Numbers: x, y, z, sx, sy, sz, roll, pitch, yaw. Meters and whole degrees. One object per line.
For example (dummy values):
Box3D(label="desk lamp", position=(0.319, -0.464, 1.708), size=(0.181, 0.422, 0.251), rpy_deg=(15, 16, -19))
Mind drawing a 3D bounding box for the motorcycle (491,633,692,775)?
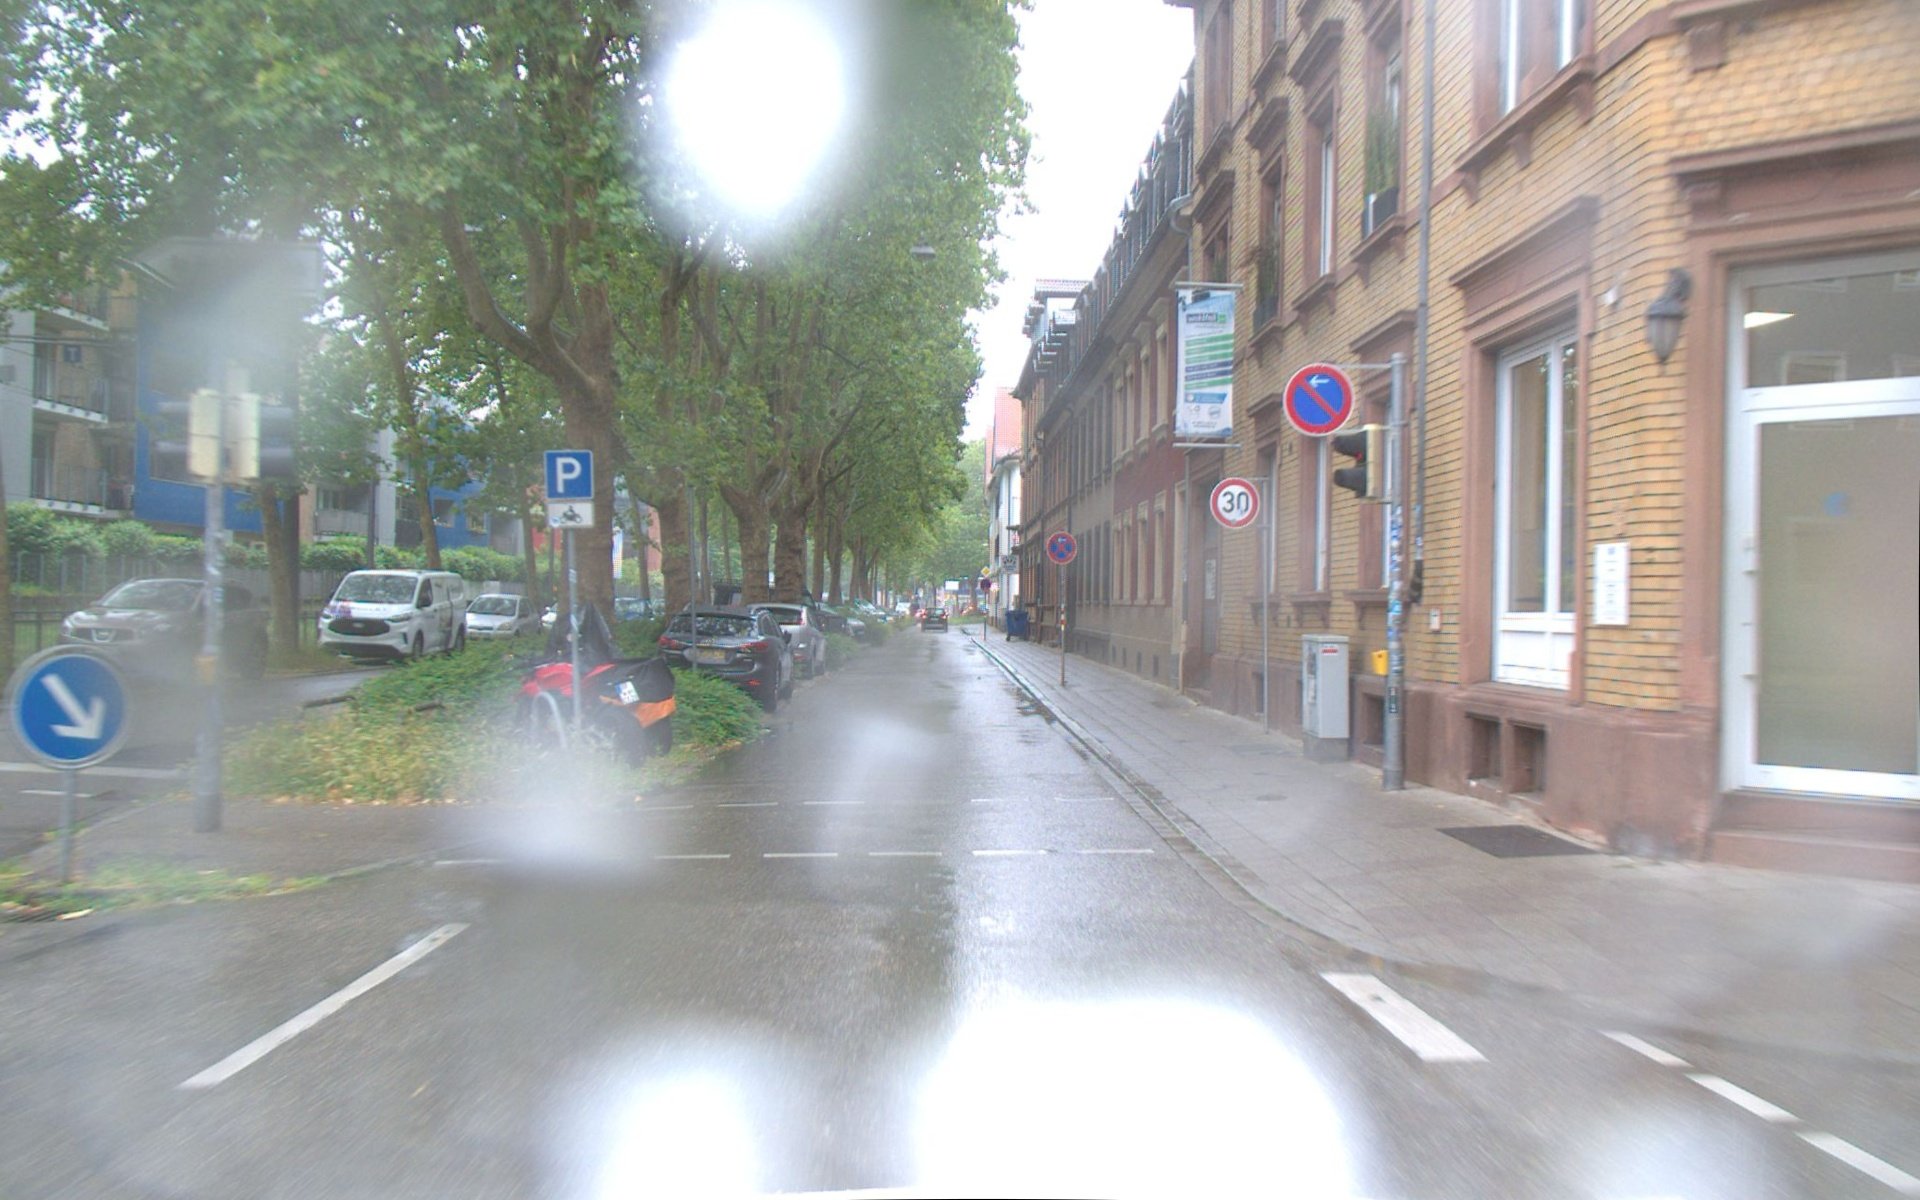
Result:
Box3D(label="motorcycle", position=(-3.618, 0.975, 16.122), size=(2.106, 1.230, 0.863), rpy_deg=(1, -1, 44))

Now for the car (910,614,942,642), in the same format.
Box3D(label="car", position=(-2.193, 1.820, 107.479), size=(1.953, 1.668, 3.999), rpy_deg=(2, -1, -1))

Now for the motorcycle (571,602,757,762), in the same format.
Box3D(label="motorcycle", position=(-3.093, 0.811, 17.157), size=(2.072, 1.526, 0.767), rpy_deg=(1, -1, 43))

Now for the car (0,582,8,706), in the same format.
Box3D(label="car", position=(-12.516, 0.498, 17.863), size=(1.865, 1.489, 4.388), rpy_deg=(2, 0, 0))

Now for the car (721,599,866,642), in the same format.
Box3D(label="car", position=(-5.574, 0.674, 55.212), size=(4.554, 1.349, 1.845), rpy_deg=(0, -1, 27))

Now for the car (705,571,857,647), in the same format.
Box3D(label="car", position=(-5.690, 0.285, 52.413), size=(4.562, 2.323, 2.006), rpy_deg=(0, -1, 33))

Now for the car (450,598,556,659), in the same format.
Box3D(label="car", position=(-12.550, 0.757, 45.652), size=(1.866, 1.561, 4.214), rpy_deg=(2, 0, -2))

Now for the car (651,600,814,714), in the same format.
Box3D(label="car", position=(-3.362, 0.798, 25.245), size=(1.857, 1.511, 4.620), rpy_deg=(2, 0, -1))

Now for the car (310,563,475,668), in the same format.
Box3D(label="car", position=(-12.269, 0.321, 36.170), size=(2.014, 2.032, 5.429), rpy_deg=(3, 0, -4))

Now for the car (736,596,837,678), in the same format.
Box3D(label="car", position=(-3.584, 0.741, 34.844), size=(1.694, 1.541, 4.206), rpy_deg=(2, 0, -1))

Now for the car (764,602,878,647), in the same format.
Box3D(label="car", position=(-5.343, 0.930, 63.535), size=(3.976, 1.564, 1.832), rpy_deg=(2, 0, 30))

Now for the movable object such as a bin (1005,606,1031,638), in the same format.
Box3D(label="movable object such as a bin", position=(2.559, 0.953, 72.931), size=(1.000, 1.324, 1.366), rpy_deg=(-2, 0, -1))

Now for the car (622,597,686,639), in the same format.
Box3D(label="car", position=(-11.967, 0.688, 64.902), size=(1.866, 1.561, 4.214), rpy_deg=(2, 0, -2))

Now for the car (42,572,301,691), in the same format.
Box3D(label="car", position=(-11.983, 0.449, 25.506), size=(1.865, 1.628, 4.466), rpy_deg=(2, 0, -1))
